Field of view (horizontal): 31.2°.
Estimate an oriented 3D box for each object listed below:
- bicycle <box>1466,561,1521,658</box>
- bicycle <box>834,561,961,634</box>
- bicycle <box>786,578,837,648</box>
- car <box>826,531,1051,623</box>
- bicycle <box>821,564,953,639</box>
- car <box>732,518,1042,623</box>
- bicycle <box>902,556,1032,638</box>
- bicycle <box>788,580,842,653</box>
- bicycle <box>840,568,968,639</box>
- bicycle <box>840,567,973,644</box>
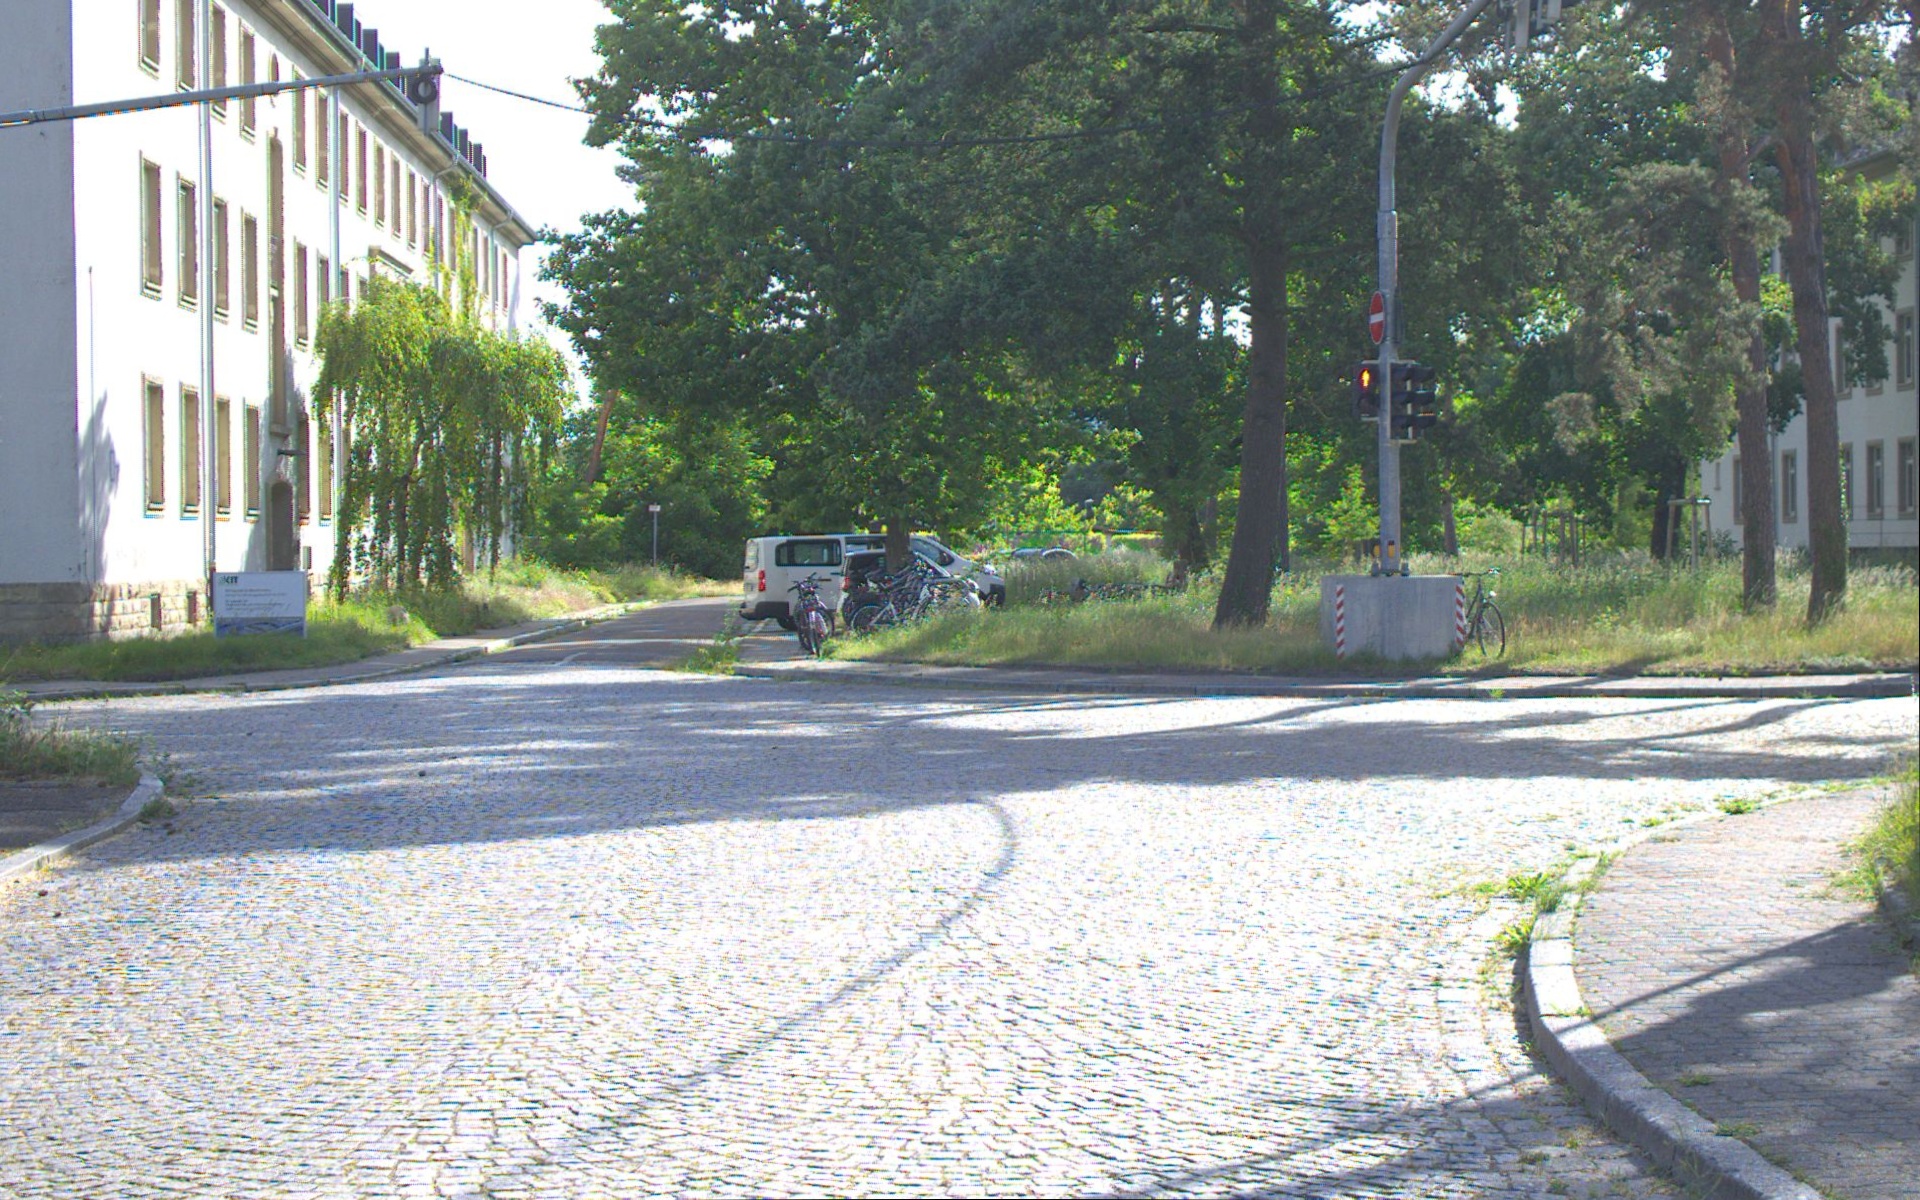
[{"bbox_3d":[6.026,0.104,38.853,0.466,1.076,1.173,0,0,2],"label":"bicycle"},{"bbox_3d":[-0.987,-0.047,53.949,1.940,1.125,0.648,-1,1,-7],"label":"bicycle"},{"bbox_3d":[-2.135,0.178,49.259,0.695,0.968,1.861,0,1,-4],"label":"bicycle"},{"bbox_3d":[-0.419,-0.441,64.592,3.986,1.678,1.848,-1,1,-9],"label":"car"},{"bbox_3d":[-1.113,0.015,52.843,1.940,1.125,0.648,-1,1,-28],"label":"bicycle"},{"bbox_3d":[-1.491,-0.606,68.755,5.929,2.007,2.476,-1,1,-8],"label":"car"},{"bbox_3d":[0.109,-0.051,52.356,1.940,1.231,0.485,0,1,-4],"label":"bicycle"},{"bbox_3d":[-2.005,0.213,47.317,0.695,0.968,1.861,0,1,-4],"label":"bicycle"},{"bbox_3d":[-0.834,0.047,50.834,1.854,1.027,0.750,0,1,-4],"label":"bicycle"},{"bbox_3d":[-0.805,0.078,51.634,1.940,1.125,0.750,0,1,-4],"label":"bicycle"}]
